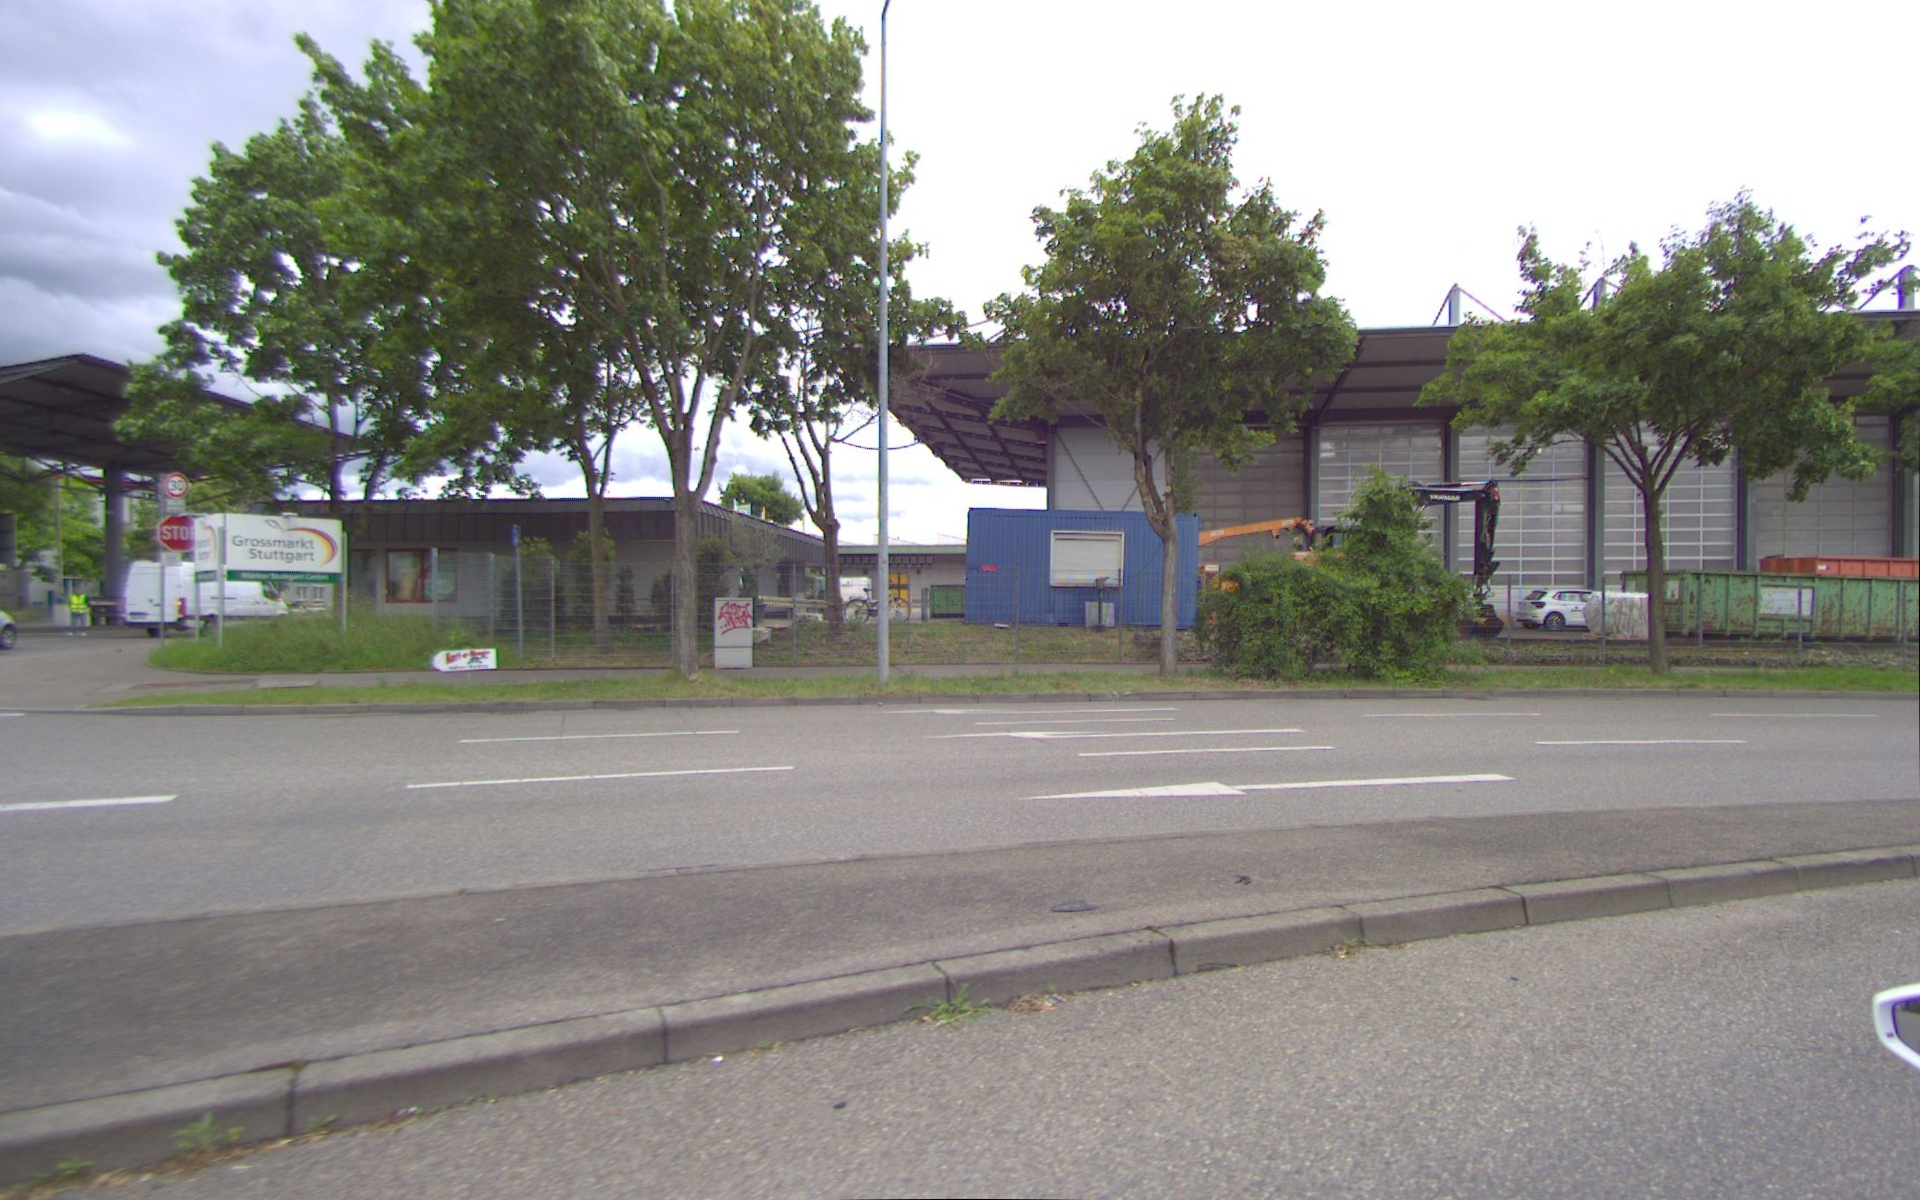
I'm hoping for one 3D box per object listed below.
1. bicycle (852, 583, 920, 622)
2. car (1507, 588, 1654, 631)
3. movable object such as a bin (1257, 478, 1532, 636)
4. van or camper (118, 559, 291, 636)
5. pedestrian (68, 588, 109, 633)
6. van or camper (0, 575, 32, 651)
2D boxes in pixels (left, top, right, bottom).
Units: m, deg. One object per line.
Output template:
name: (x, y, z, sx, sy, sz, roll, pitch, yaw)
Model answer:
bicycle: (-1.914, 0.070, 26.220, 1.726, 0.987, 0.663, 0, -1, 0)
car: (21.354, 0.330, 34.691, 3.919, 1.392, 1.739, 1, 0, 8)
movable object such as a bin: (11.804, -1.107, 27.735, 6.422, 4.145, 2.734, 0, -1, 0)
van or camper: (-27.708, -0.115, 37.224, 2.289, 2.591, 6.565, 0, 1, -9)
pedestrian: (-30.564, 0.378, 35.239, 0.755, 1.579, 0.815, 0, -1, -9)
van or camper: (-26.103, 0.332, 25.741, 1.929, 1.989, 4.255, 1, 0, -21)
